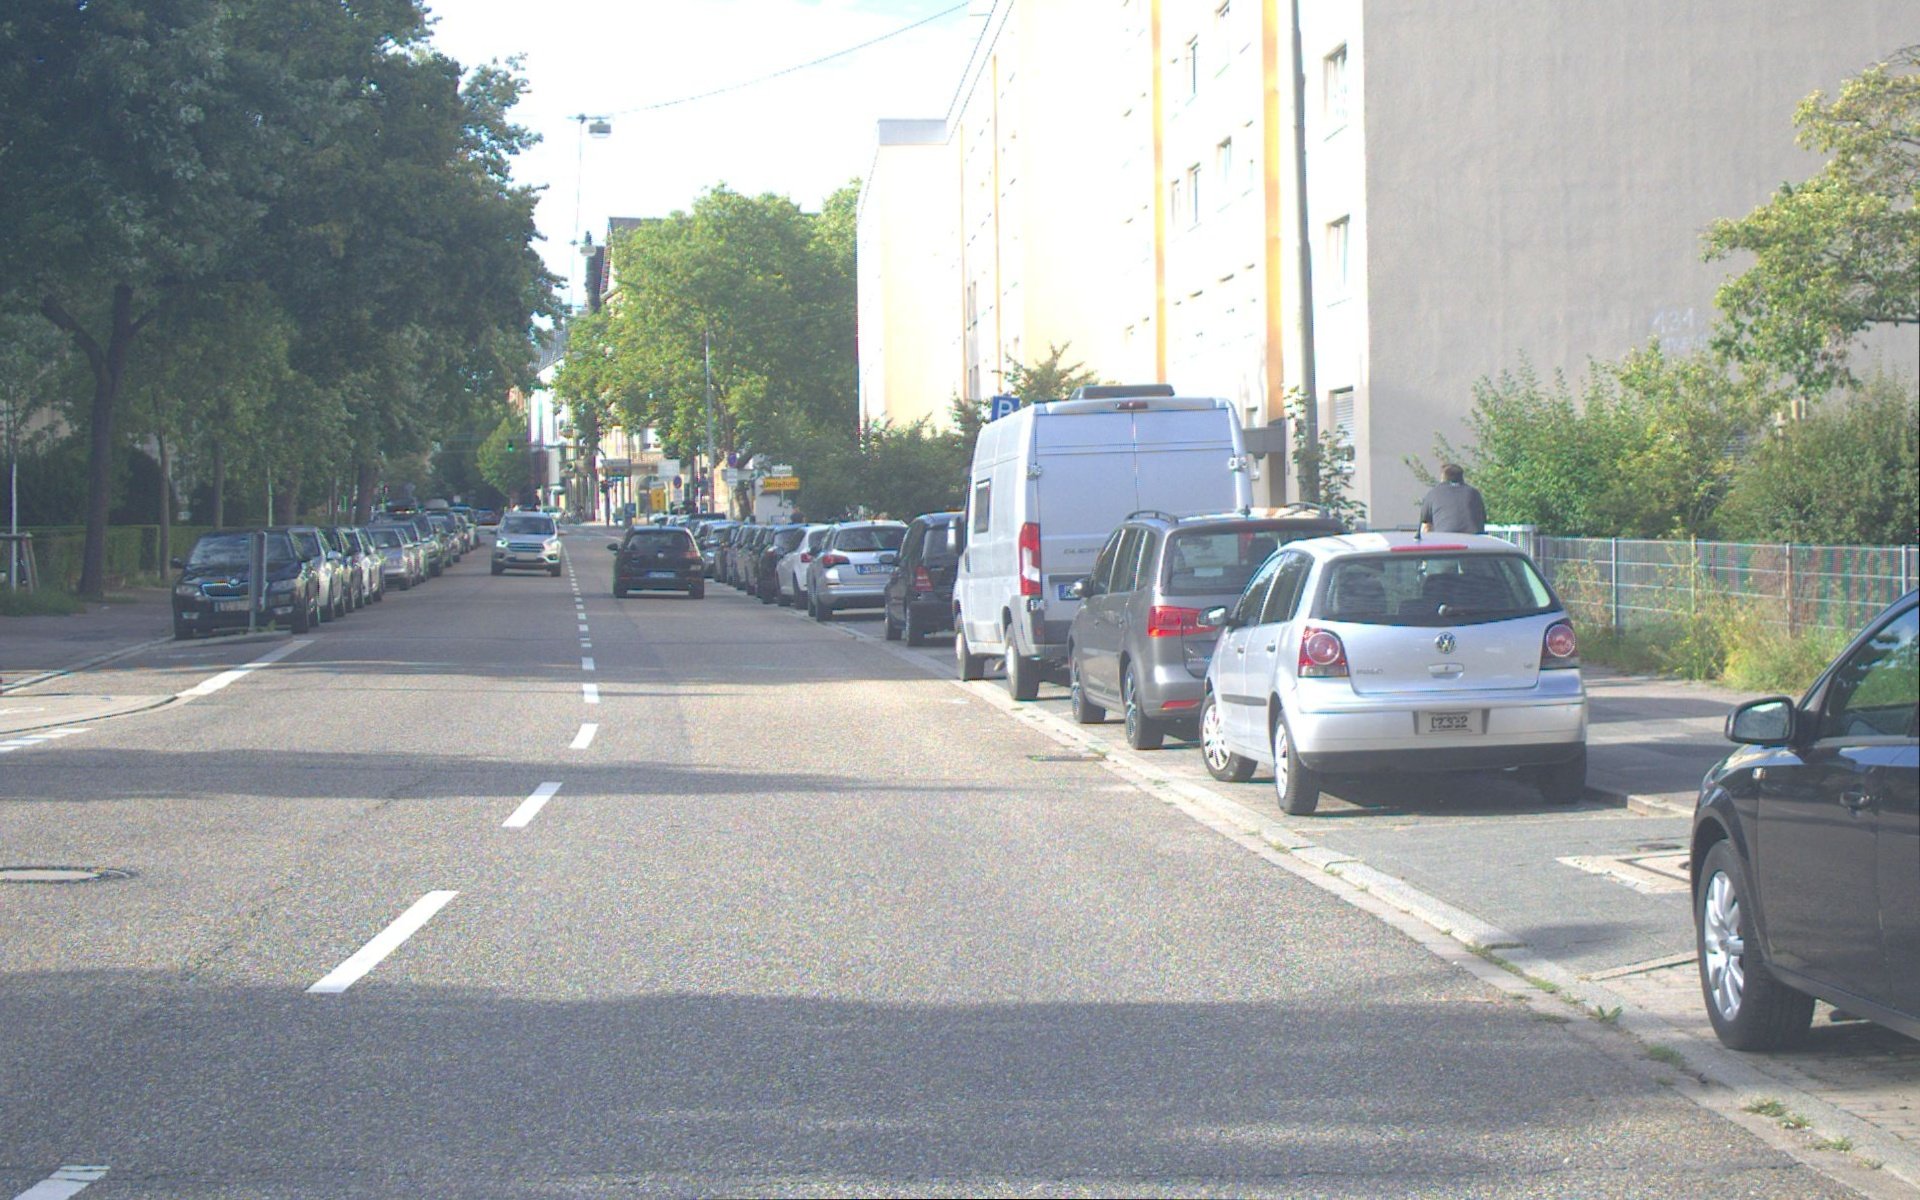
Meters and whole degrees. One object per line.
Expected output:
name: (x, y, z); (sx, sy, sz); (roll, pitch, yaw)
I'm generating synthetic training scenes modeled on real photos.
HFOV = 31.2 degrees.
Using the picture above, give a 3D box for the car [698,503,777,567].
car: (-5.817, -1.715, 89.794); (1.993, 1.568, 4.001); (-2, 2, -4)

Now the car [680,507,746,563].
car: (-7.801, -2.081, 108.562); (1.993, 1.678, 4.001); (-2, 2, -4)

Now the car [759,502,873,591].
car: (-2.747, -1.035, 64.748); (1.993, 1.568, 4.001); (-2, 2, -4)

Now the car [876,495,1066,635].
car: (0.081, -0.465, 41.905); (1.993, 1.568, 4.001); (-2, 2, -4)

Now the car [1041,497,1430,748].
car: (1.890, 0.083, 25.013); (1.993, 1.610, 4.409); (-2, 2, -6)

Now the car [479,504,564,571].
car: (-11.656, -1.680, 91.257); (2.055, 1.658, 3.927); (-2, 2, -9)

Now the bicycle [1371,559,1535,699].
bicycle: (4.028, 0.213, 28.301); (0.740, 1.031, 2.763); (-3, 1, -3)

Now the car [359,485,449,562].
car: (-15.054, -2.098, 93.250); (1.993, 2.006, 4.001); (-2, 2, -4)

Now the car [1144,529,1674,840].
car: (2.415, 0.384, 19.861); (2.015, 1.470, 4.803); (-3, 1, -4)

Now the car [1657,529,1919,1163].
car: (3.108, 0.567, 8.580); (1.717, 1.491, 4.269); (-1, 1, -2)

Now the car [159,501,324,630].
car: (-9.742, -0.503, 46.872); (1.993, 1.634, 4.001); (-2, 2, -9)

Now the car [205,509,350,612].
car: (-10.316, -0.630, 52.215); (1.993, 1.446, 3.906); (-2, 2, -9)

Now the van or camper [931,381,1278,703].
van or camper: (1.177, -0.555, 31.007); (2.209, 2.598, 5.373); (-2, 2, -7)

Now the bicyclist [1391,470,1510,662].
bicyclist: (4.010, -0.282, 28.155); (0.737, 1.508, 0.875); (-3, 1, -3)

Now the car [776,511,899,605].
car: (-2.185, -0.770, 60.374); (1.993, 1.524, 4.001); (-2, 2, -4)

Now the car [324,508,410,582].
car: (-13.202, -1.251, 76.652); (1.806, 1.556, 3.435); (-2, 2, -9)

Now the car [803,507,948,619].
car: (-1.332, -0.597, 52.407); (1.993, 1.568, 4.001); (-2, 2, -4)

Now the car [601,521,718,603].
car: (-6.008, -0.788, 68.371); (1.993, 1.565, 4.001); (0, 2, -10)
